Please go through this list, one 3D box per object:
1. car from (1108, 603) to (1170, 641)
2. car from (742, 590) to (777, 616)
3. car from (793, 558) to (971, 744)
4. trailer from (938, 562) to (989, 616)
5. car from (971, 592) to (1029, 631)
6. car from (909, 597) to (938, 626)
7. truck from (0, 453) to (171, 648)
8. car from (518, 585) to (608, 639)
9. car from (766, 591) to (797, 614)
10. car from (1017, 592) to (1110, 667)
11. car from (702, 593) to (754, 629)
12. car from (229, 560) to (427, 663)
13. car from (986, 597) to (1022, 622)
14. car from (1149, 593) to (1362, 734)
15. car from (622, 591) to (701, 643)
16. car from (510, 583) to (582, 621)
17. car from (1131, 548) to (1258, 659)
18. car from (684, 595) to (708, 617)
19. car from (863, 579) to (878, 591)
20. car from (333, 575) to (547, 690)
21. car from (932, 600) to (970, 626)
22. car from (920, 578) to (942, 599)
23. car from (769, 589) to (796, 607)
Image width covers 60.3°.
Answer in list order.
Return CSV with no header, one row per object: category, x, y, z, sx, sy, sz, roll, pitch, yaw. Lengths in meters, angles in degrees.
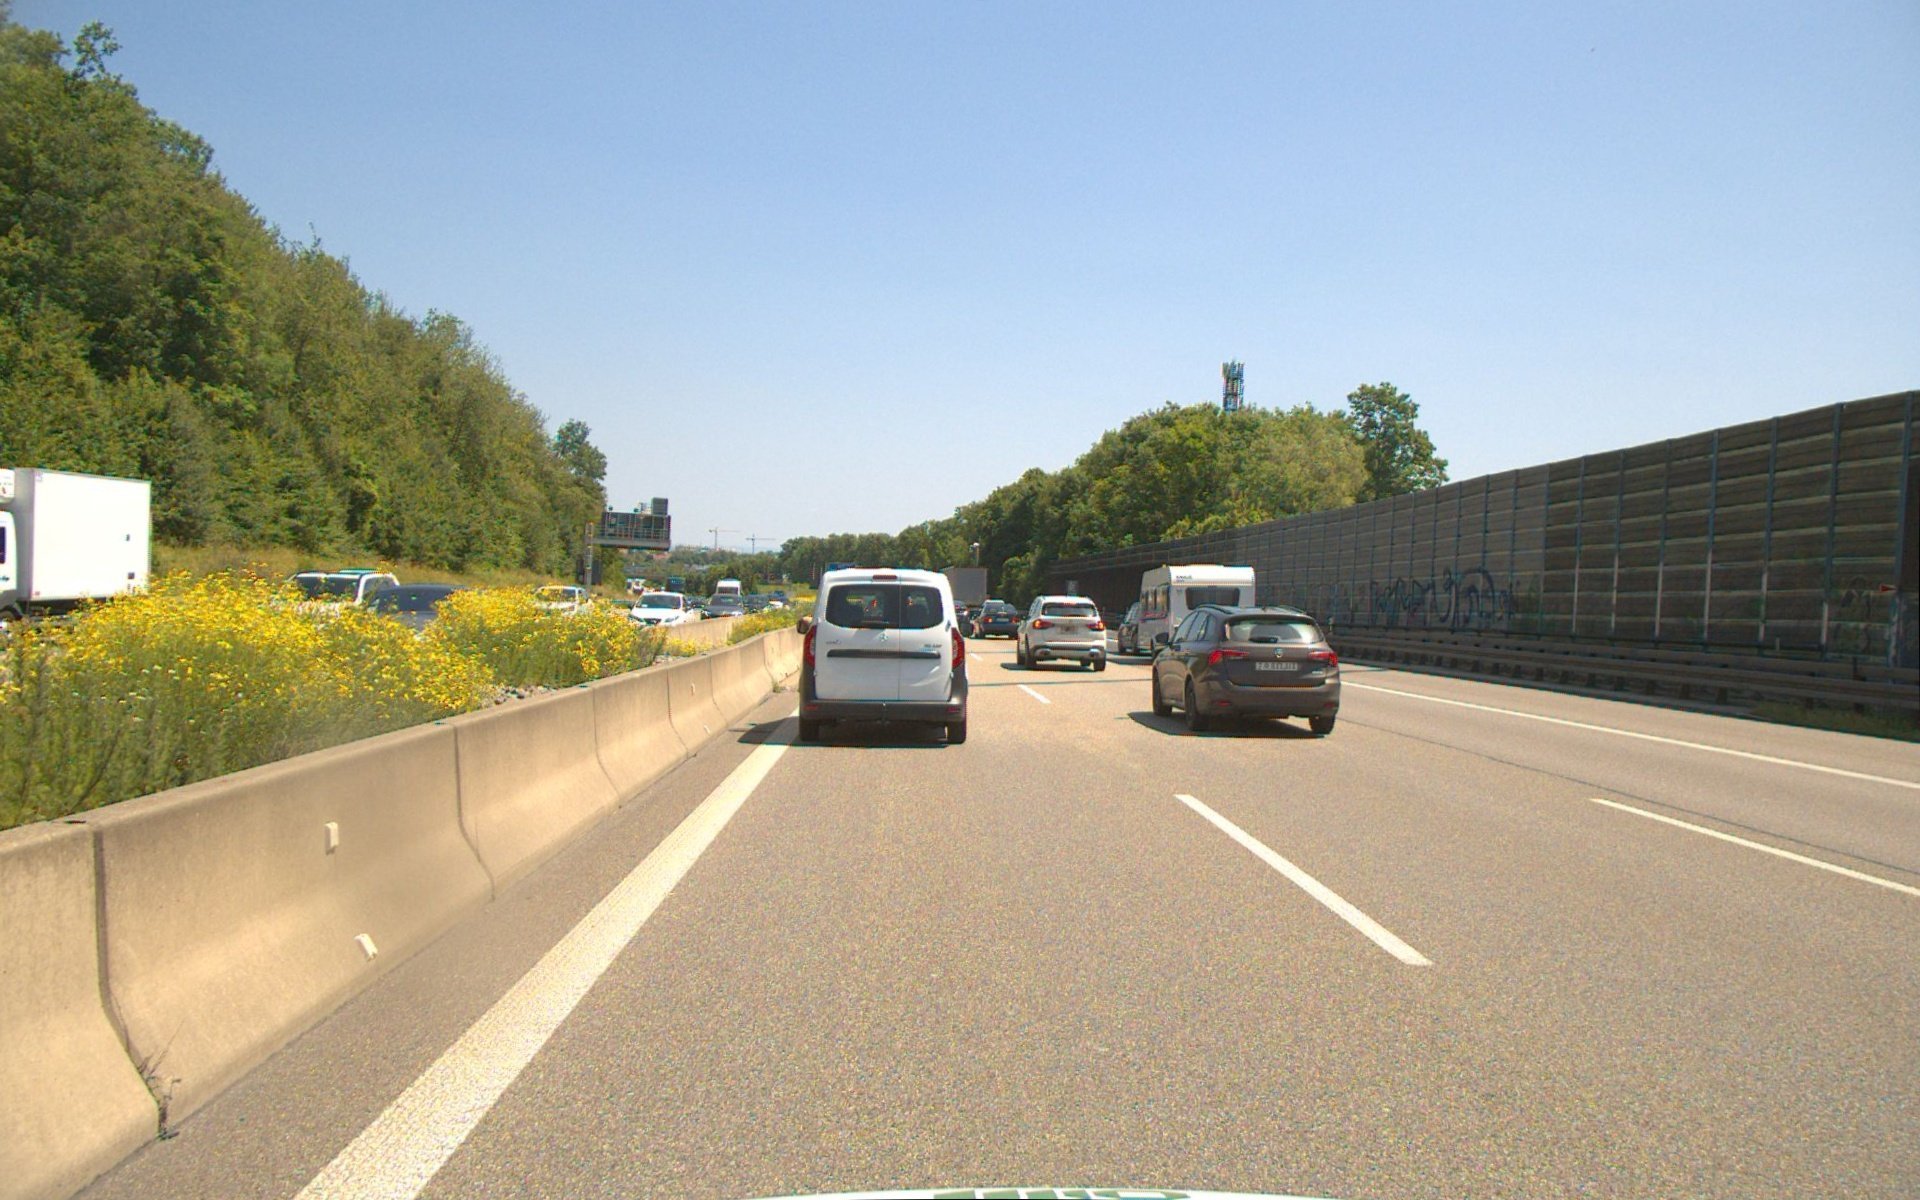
car,7.043,0.856,65.507,1.788,1.449,3.997,1,0,-3
car,-11.473,0.174,94.850,1.632,1.453,3.855,1,0,-2
car,-0.818,0.512,18.653,1.766,1.839,3.999,1,0,-1
trailer,0.183,-0.845,131.838,3.022,4.055,10.311,1,0,-5
car,1.535,0.433,65.123,1.788,1.449,3.995,1,0,-5
car,-2.632,0.789,118.448,1.788,2.024,3.995,0,0,-5
truck,-18.830,-0.937,33.162,2.681,3.535,7.311,1,0,-2
car,-12.072,0.356,50.518,1.805,1.573,3.999,1,0,-1
car,-12.152,0.155,113.078,1.768,1.553,4.255,1,0,-2
car,2.399,0.654,39.174,1.833,1.636,3.878,2,0,-1
car,-9.494,0.448,67.956,1.697,1.430,4.608,0,0,-3
car,-11.634,0.185,30.814,1.953,1.731,4.529,1,0,-1
car,2.786,0.594,105.913,1.789,1.449,3.996,1,0,-5
car,3.596,0.707,20.937,1.801,1.539,4.401,2,0,-1
car,-8.665,0.473,48.332,1.599,1.453,4.035,1,0,-1
car,-17.270,0.081,69.203,1.953,1.507,4.689,1,0,-2
car,6.403,0.095,45.983,2.429,2.814,6.217,1,0,-2
car,-26.325,0.600,165.014,1.954,2.049,3.996,1,0,-5
car,-13.332,-2.276,245.718,1.955,1.758,3.995,1,0,-6
car,-7.270,0.414,23.544,1.769,1.444,4.076,1,0,-1
car,-0.532,0.728,93.523,1.788,1.449,3.995,1,0,-5
car,-2.902,-1.130,165.297,1.955,2.049,3.996,1,0,-5
car,-14.524,-0.139,135.551,1.838,1.435,4.410,1,0,-3
